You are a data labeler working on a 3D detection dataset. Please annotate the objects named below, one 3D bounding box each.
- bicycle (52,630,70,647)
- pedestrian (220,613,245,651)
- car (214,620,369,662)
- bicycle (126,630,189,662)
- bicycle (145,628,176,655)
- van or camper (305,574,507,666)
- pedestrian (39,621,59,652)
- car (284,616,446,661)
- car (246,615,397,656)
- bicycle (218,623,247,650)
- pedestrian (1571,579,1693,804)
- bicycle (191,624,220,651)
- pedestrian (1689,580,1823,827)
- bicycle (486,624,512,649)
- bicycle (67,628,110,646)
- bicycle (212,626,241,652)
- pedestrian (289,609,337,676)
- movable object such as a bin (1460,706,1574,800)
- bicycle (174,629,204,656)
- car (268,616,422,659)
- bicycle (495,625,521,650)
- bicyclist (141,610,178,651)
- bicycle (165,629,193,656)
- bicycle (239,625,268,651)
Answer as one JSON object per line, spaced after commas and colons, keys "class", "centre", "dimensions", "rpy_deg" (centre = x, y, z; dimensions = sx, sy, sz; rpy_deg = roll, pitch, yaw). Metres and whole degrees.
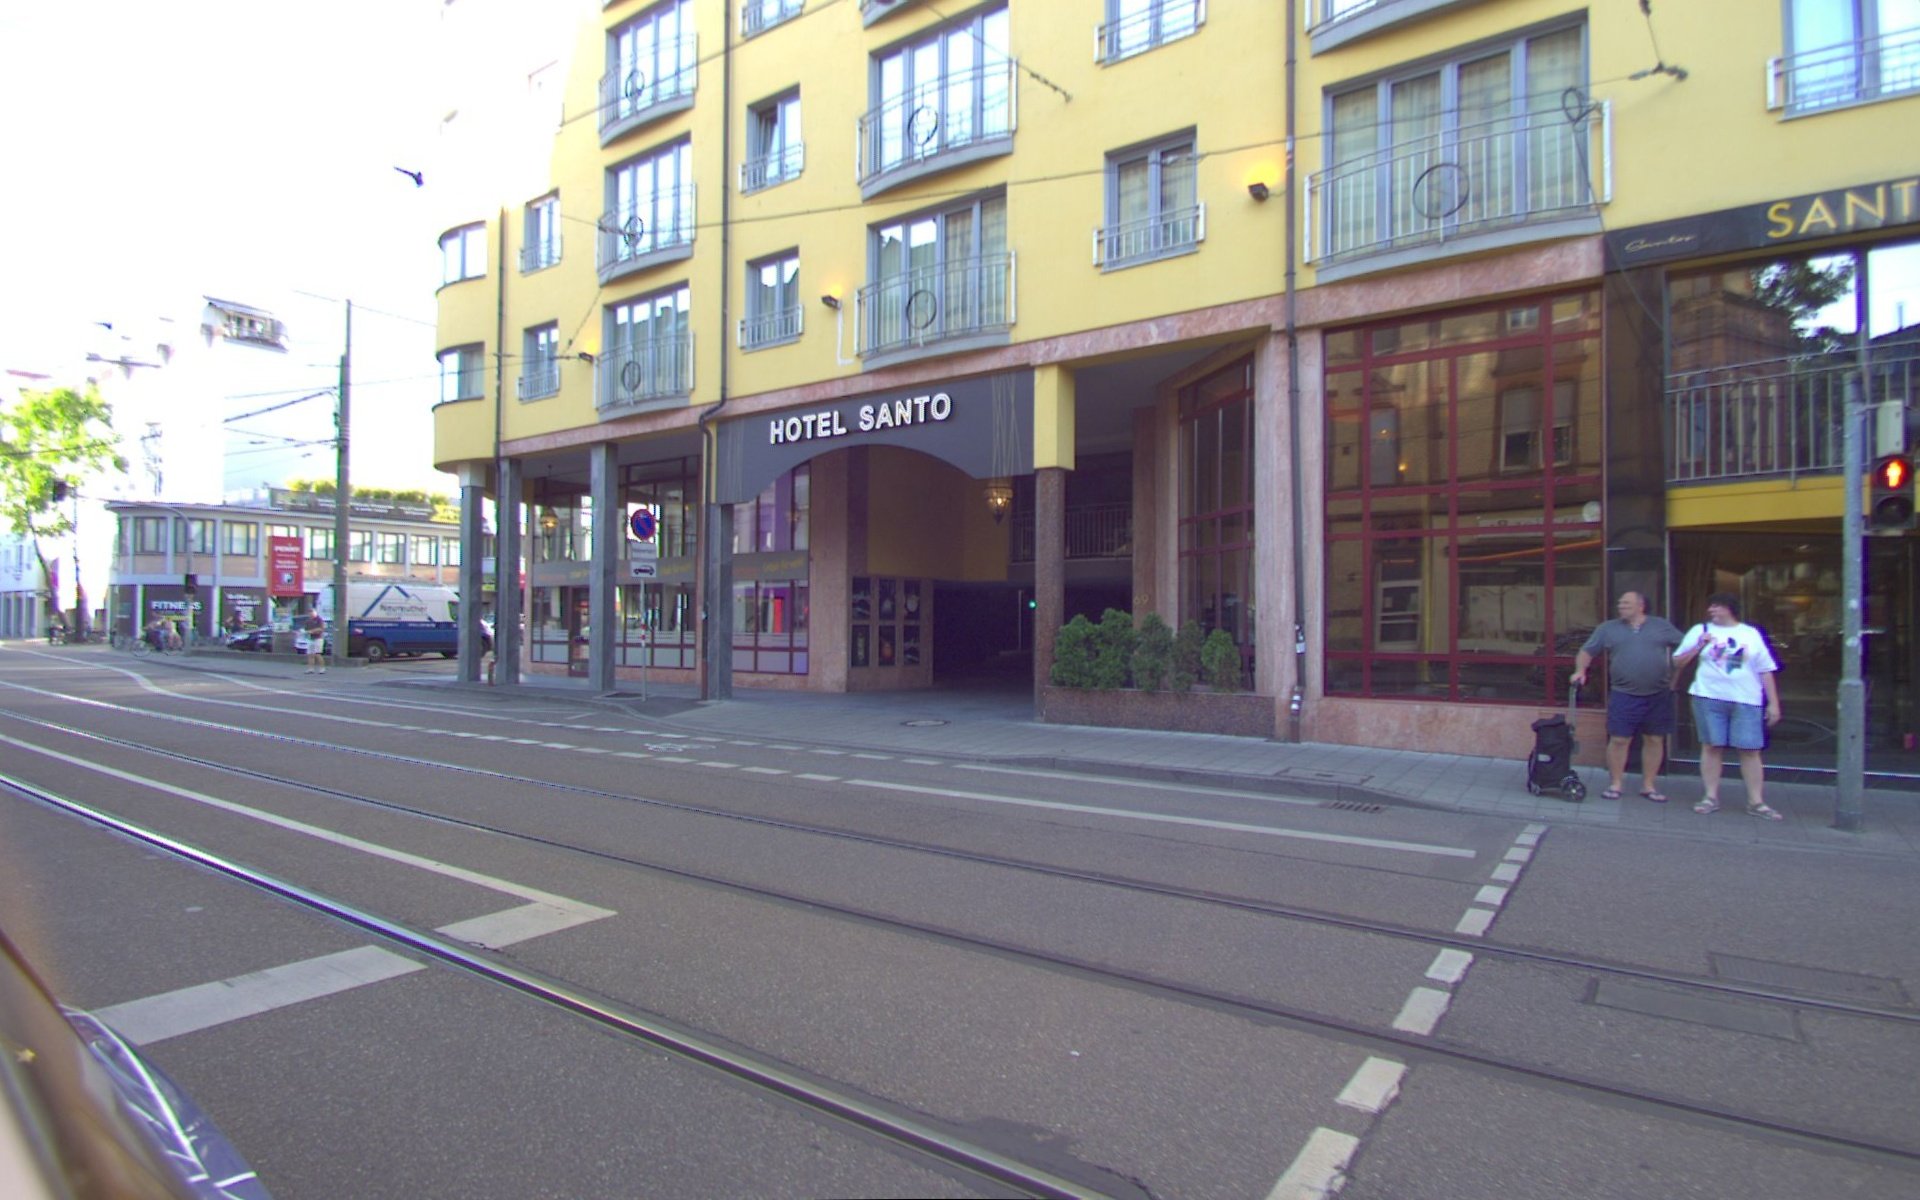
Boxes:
{"class": "bicycle", "centre": [-50.551, 2.154, 56.911], "dimensions": [1.848, 0.919, 0.384], "rpy_deg": [-1, -1, 37]}
{"class": "pedestrian", "centre": [-32.815, 1.446, 45.658], "dimensions": [0.681, 1.710, 0.675], "rpy_deg": [-1, -3, 34]}
{"class": "car", "centre": [-26.792, 1.629, 40.732], "dimensions": [1.876, 1.595, 4.850], "rpy_deg": [-2, -3, 36]}
{"class": "bicycle", "centre": [-31.342, 1.776, 39.545], "dimensions": [0.677, 1.179, 1.821], "rpy_deg": [2, -2, 17]}
{"class": "bicycle", "centre": [-35.761, 1.869, 45.260], "dimensions": [1.824, 1.196, 0.442], "rpy_deg": [-1, -3, 30]}
{"class": "van or camper", "centre": [-18.615, 0.727, 34.291], "dimensions": [2.311, 2.849, 5.555], "rpy_deg": [-2, -3, 36]}
{"class": "pedestrian", "centre": [-51.473, 2.050, 57.189], "dimensions": [0.621, 1.729, 0.827], "rpy_deg": [1, -2, -27]}
{"class": "car", "centre": [-20.860, 1.348, 35.669], "dimensions": [1.876, 1.487, 4.547], "rpy_deg": [-2, -3, 36]}
{"class": "car", "centre": [-24.581, 1.375, 39.111], "dimensions": [1.876, 1.487, 4.547], "rpy_deg": [-2, -3, 36]}
{"class": "bicycle", "centre": [-33.552, 1.687, 46.677], "dimensions": [1.826, 1.196, 0.444], "rpy_deg": [-1, -3, 33]}
{"class": "pedestrian", "centre": [5.751, 0.739, 8.672], "dimensions": [0.798, 1.784, 0.741], "rpy_deg": [-2, 2, 35]}
{"class": "bicycle", "centre": [-34.364, 1.718, 46.090], "dimensions": [1.826, 1.196, 0.439], "rpy_deg": [-1, -3, 33]}
{"class": "pedestrian", "centre": [6.459, 0.782, 8.262], "dimensions": [0.752, 1.832, 1.034], "rpy_deg": [-2, 2, 35]}
{"class": "bicycle", "centre": [-21.849, 1.728, 47.925], "dimensions": [1.831, 1.196, 0.426], "rpy_deg": [-2, -3, 43]}
{"class": "bicycle", "centre": [-49.679, 2.095, 57.685], "dimensions": [0.389, 0.919, 1.826], "rpy_deg": [-6, -4, 41]}
{"class": "bicycle", "centre": [-33.321, 1.765, 45.961], "dimensions": [1.826, 1.196, 0.444], "rpy_deg": [-1, -3, 33]}
{"class": "pedestrian", "centre": [-18.252, 1.195, 28.543], "dimensions": [0.907, 1.846, 0.826], "rpy_deg": [-2, -3, 35]}
{"class": "movable object such as a bin", "centre": [4.993, 1.356, 9.082], "dimensions": [0.839, 0.721, 0.380], "rpy_deg": [-1, 2, 37]}
{"class": "bicycle", "centre": [-34.876, 1.911, 45.771], "dimensions": [1.826, 1.196, 0.444], "rpy_deg": [-1, -3, 33]}
{"class": "car", "centre": [-22.880, 1.403, 37.833], "dimensions": [1.876, 1.487, 4.547], "rpy_deg": [-2, -3, 36]}
{"class": "bicycle", "centre": [-21.596, 1.796, 48.333], "dimensions": [1.831, 1.196, 0.426], "rpy_deg": [-2, -3, 43]}
{"class": "bicyclist", "centre": [-31.307, 1.201, 39.598], "dimensions": [0.686, 1.561, 0.832], "rpy_deg": [2, -2, 18]}
{"class": "bicycle", "centre": [-34.965, 1.896, 45.307], "dimensions": [1.827, 1.196, 0.436], "rpy_deg": [-1, -3, 36]}
{"class": "bicycle", "centre": [-32.981, 1.772, 47.227], "dimensions": [1.826, 1.196, 0.444], "rpy_deg": [-1, -3, 33]}
